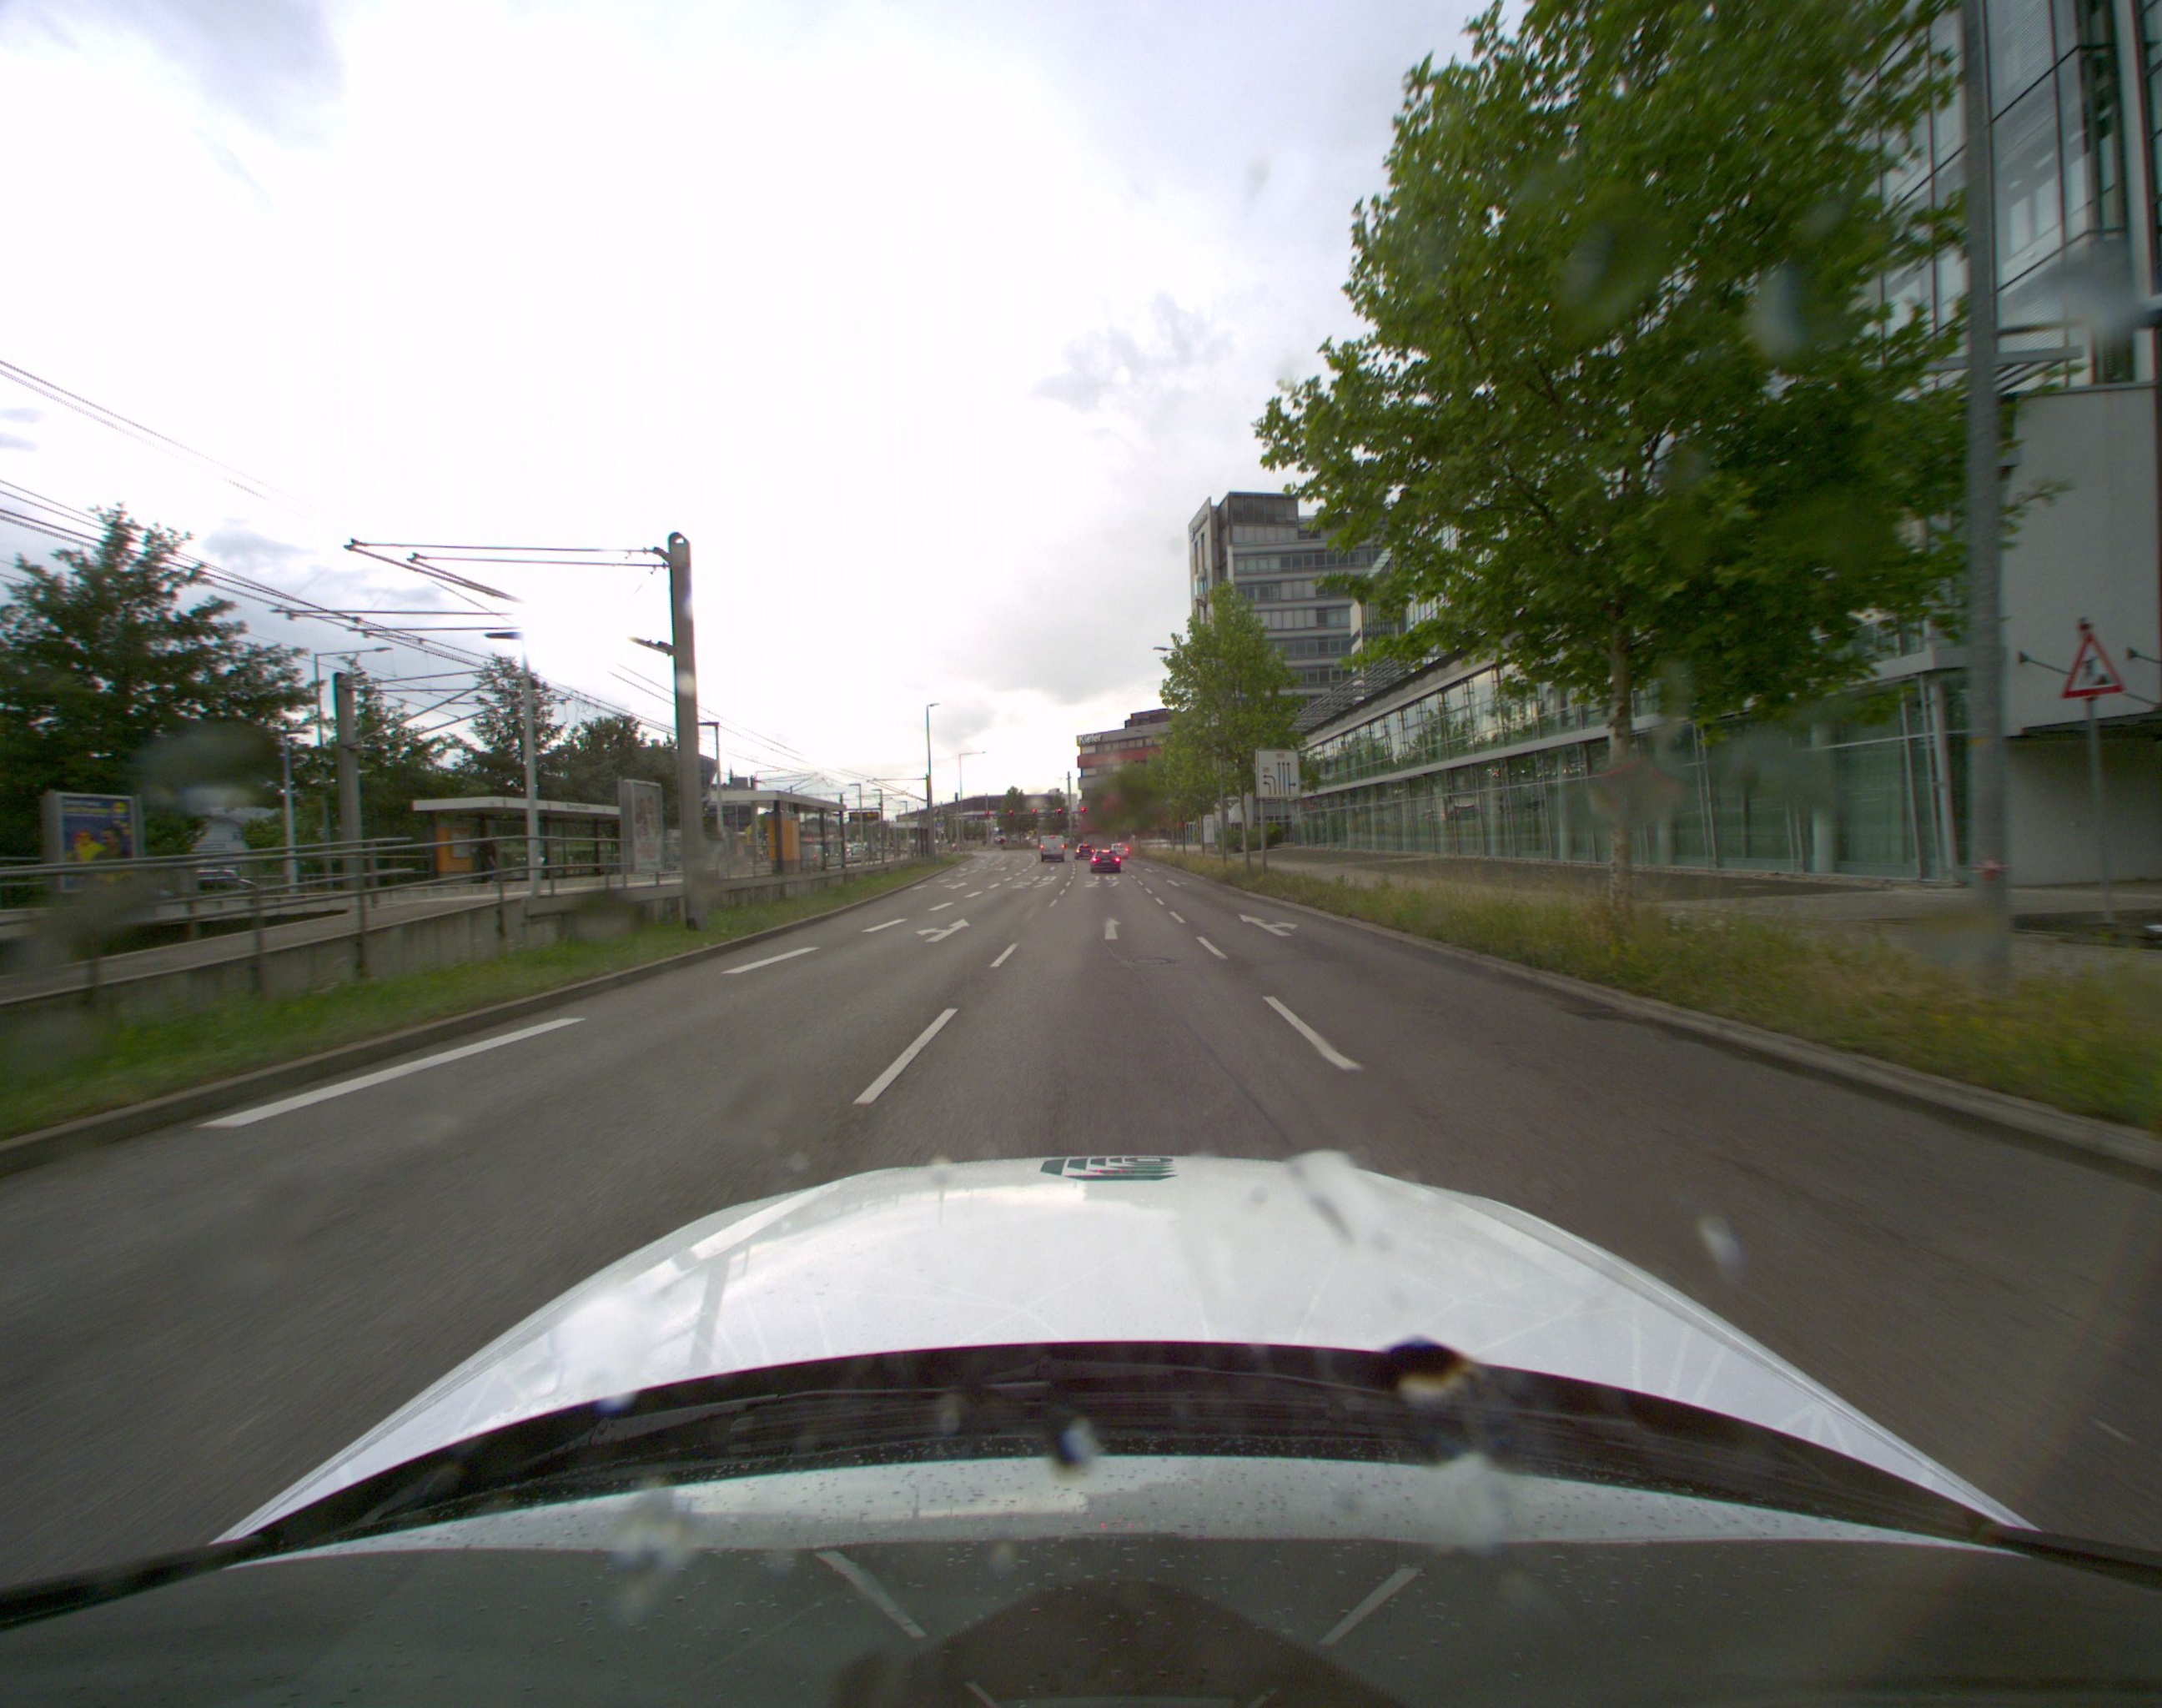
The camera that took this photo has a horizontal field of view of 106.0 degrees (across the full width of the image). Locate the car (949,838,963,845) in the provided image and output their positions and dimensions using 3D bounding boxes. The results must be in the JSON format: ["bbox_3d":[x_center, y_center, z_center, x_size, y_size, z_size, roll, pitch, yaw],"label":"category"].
[{"bbox_3d":[-39.000,-3.887,254.655,4.001,2.014,1.986,0,-3,-21],"label":"car"}]

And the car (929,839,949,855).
[{"bbox_3d":[-17.593,-0.828,100.848,1.989,1.809,3.842,2,0,-4],"label":"car"}]

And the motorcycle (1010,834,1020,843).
[{"bbox_3d":[-17.565,-4.080,217.433,1.996,2.014,3.980,0,-3,-14],"label":"motorcycle"}]

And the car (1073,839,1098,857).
[{"bbox_3d":[0.377,-0.563,78.111,2.018,1.623,3.993,-1,0,-5],"label":"car"}]

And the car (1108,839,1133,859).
[{"bbox_3d":[3.726,-0.505,77.512,2.017,1.769,3.995,-1,1,-4],"label":"car"}]

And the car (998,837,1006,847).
[{"bbox_3d":[-18.789,-2.880,193.425,1.817,2.014,3.459,-1,-2,-9],"label":"car"}]

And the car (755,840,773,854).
[{"bbox_3d":[-52.747,-1.107,135.512,2.008,2.014,3.956,1,-3,-35],"label":"car"}]

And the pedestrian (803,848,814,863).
[{"bbox_3d":[-22.466,0.107,67.154,0.725,1.253,0.730,-1,-1,-6],"label":"pedestrian"}]

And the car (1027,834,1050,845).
[{"bbox_3d":[-7.831,-2.629,150.230,2.011,2.014,3.951,1,-1,-44],"label":"car"}]

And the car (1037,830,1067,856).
[{"bbox_3d":[-2.544,-0.943,71.976,2.505,2.177,5.145,-1,0,-2],"label":"car"}]

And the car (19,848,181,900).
[{"bbox_3d":[-41.203,0.789,34.367,1.988,2.013,3.998,-1,0,-1],"label":"car"}]

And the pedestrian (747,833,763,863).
[{"bbox_3d":[-22.185,-0.380,55.511,0.856,2.014,1.036,0,-3,-13],"label":"pedestrian"}]

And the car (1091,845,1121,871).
[{"bbox_3d":[1.596,0.221,50.222,1.757,1.463,4.630,-1,1,3],"label":"car"}]

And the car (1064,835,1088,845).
[{"bbox_3d":[-0.828,-2.438,140.560,2.039,1.623,3.951,-1,0,-44],"label":"car"}]

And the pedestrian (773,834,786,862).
[{"bbox_3d":[-22.370,-0.431,60.397,0.686,2.080,0.714,-1,0,1],"label":"pedestrian"}]

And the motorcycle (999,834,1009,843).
[{"bbox_3d":[-20.454,-4.079,216.324,1.996,2.014,3.980,0,-3,-14],"label":"motorcycle"}]

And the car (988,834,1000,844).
[{"bbox_3d":[-18.988,-3.300,177.690,1.997,2.014,3.979,-1,-2,-15],"label":"car"}]

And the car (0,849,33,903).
[{"bbox_3d":[-41.000,0.843,29.056,1.988,2.013,3.998,-1,0,-1],"label":"car"}]

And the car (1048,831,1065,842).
[{"bbox_3d":[-5.149,-3.792,173.463,2.005,2.014,3.962,0,-3,-28],"label":"car"}]

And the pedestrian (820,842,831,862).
[{"bbox_3d":[-21.900,-0.167,69.802,0.750,1.751,0.763,-1,-3,-3],"label":"pedestrian"}]

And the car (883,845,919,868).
[{"bbox_3d":[-13.295,0.164,60.277,1.989,1.452,3.844,-1,3,-4],"label":"car"}]

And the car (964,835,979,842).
[{"bbox_3d":[-32.255,-4.518,239.247,4.001,2.014,1.986,0,-3,-21],"label":"car"}]

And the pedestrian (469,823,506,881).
[{"bbox_3d":[-19.163,-0.048,26.315,0.636,1.854,0.749,-1,-3,-4],"label":"pedestrian"}]

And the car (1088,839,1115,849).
[{"bbox_3d":[3.479,-1.626,136.416,2.039,1.623,4.272,-1,0,-44],"label":"car"}]

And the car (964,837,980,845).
[{"bbox_3d":[-29.740,-3.526,222.943,4.001,2.014,1.986,0,-3,-21],"label":"car"}]
